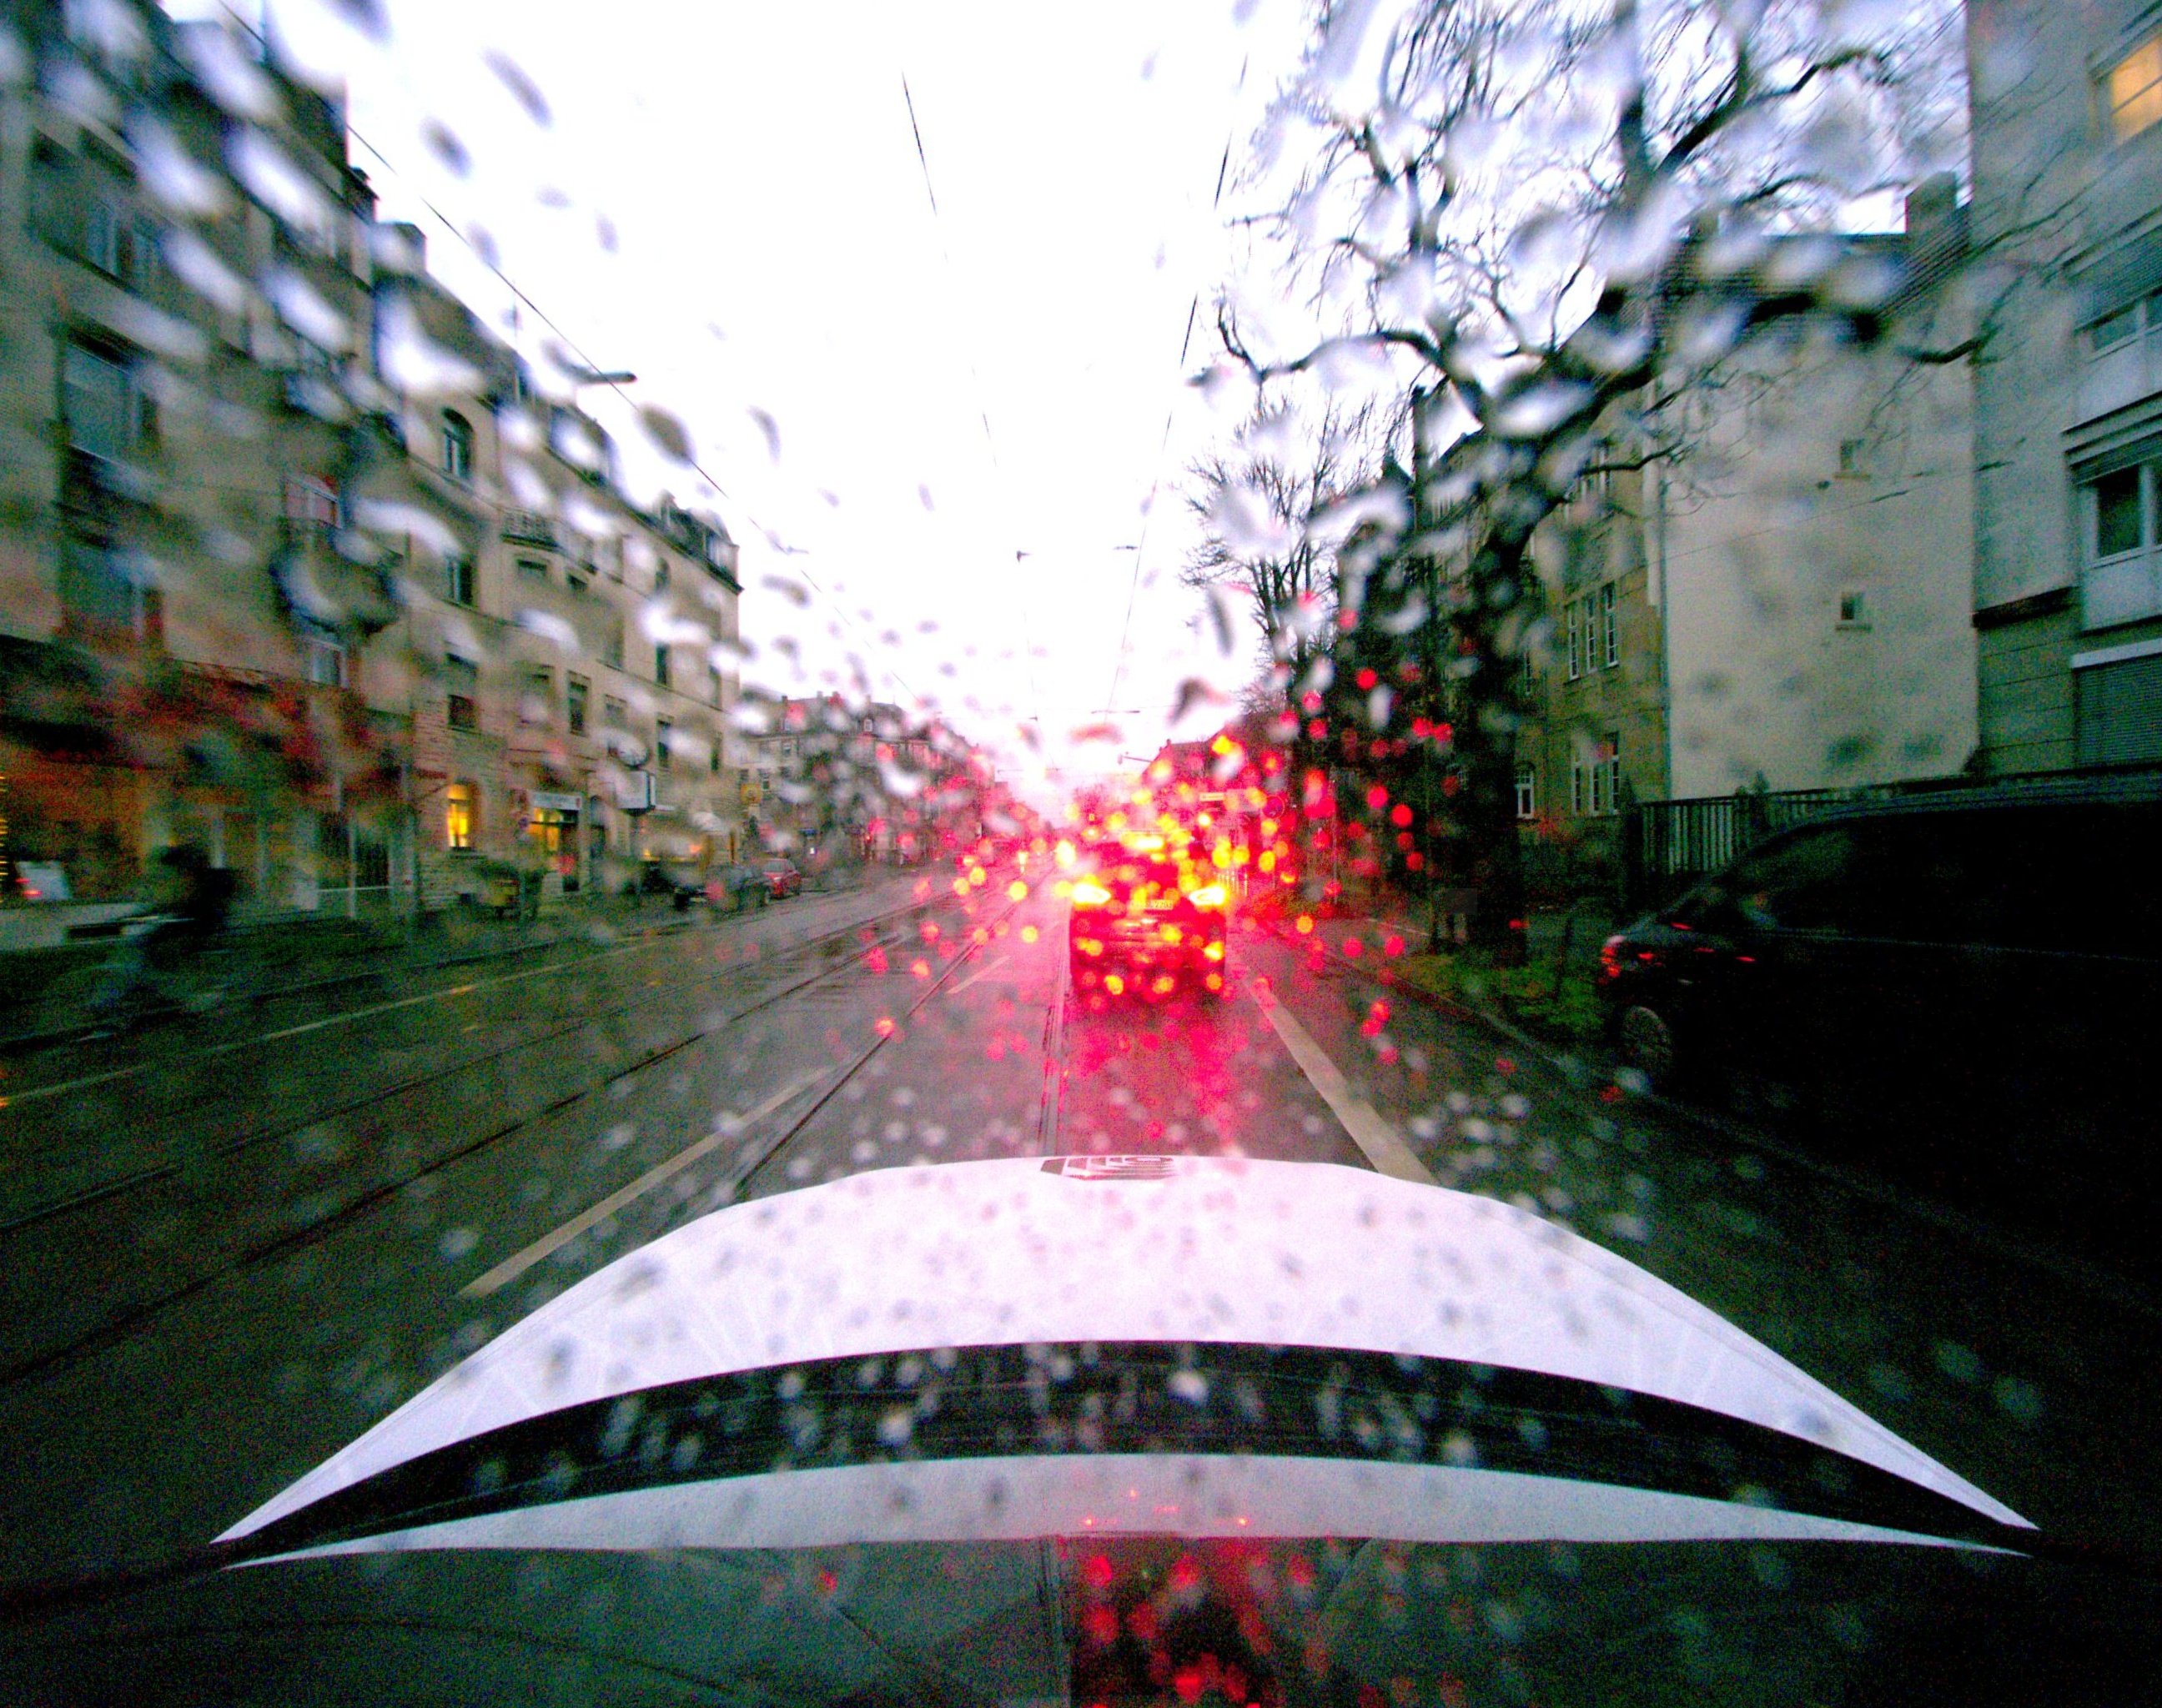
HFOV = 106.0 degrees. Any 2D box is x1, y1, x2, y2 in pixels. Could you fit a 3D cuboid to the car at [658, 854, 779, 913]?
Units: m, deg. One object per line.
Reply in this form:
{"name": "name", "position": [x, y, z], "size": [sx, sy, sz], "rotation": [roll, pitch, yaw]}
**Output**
{"name": "car", "position": [-11.672, 0.908, 26.624], "size": [1.981, 1.645, 4.626], "rotation": [4, -1, -3]}

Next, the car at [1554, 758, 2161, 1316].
{"name": "car", "position": [4.613, 0.580, 3.668], "size": [2.024, 1.875, 4.962], "rotation": [-2, 0, -1]}

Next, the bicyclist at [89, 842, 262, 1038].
{"name": "bicyclist", "position": [-9.238, 0.827, 8.356], "size": [0.621, 1.876, 0.991], "rotation": [-1, 0, 2]}

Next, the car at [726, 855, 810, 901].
{"name": "car", "position": [-12.410, 0.907, 32.528], "size": [2.034, 1.551, 4.024], "rotation": [3, 1, -5]}

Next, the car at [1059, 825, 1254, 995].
{"name": "car", "position": [0.895, 0.591, 11.176], "size": [2.096, 1.816, 4.663], "rotation": [1, 0, 2]}

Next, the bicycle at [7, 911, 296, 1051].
{"name": "bicycle", "position": [-9.239, 1.202, 8.243], "size": [0.621, 1.092, 1.948], "rotation": [-1, 0, 2]}

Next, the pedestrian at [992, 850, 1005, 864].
{"name": "pedestrian", "position": [-7.337, 0.262, 72.467], "size": [1.044, 1.200, 0.885], "rotation": [0, 0, 0]}

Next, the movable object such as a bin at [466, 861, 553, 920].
{"name": "movable object such as a bin", "position": [-14.406, 0.903, 20.573], "size": [1.263, 1.420, 1.250], "rotation": [-1, 0, 0]}

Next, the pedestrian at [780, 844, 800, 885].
{"name": "pedestrian", "position": [-14.362, 0.502, 40.207], "size": [0.748, 2.014, 0.652], "rotation": [-1, -1, 36]}

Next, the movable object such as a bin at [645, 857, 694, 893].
{"name": "movable object such as a bin", "position": [-16.419, 0.829, 32.553], "size": [1.290, 1.367, 1.252], "rotation": [-1, 0, -1]}

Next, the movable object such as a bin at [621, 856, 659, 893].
{"name": "movable object such as a bin", "position": [-16.934, 0.793, 31.273], "size": [0.896, 1.377, 1.006], "rotation": [-1, 0, 0]}

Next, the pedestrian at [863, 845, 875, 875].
{"name": "pedestrian", "position": [-14.226, 0.413, 54.690], "size": [0.707, 2.013, 0.656], "rotation": [-1, 0, -20]}
